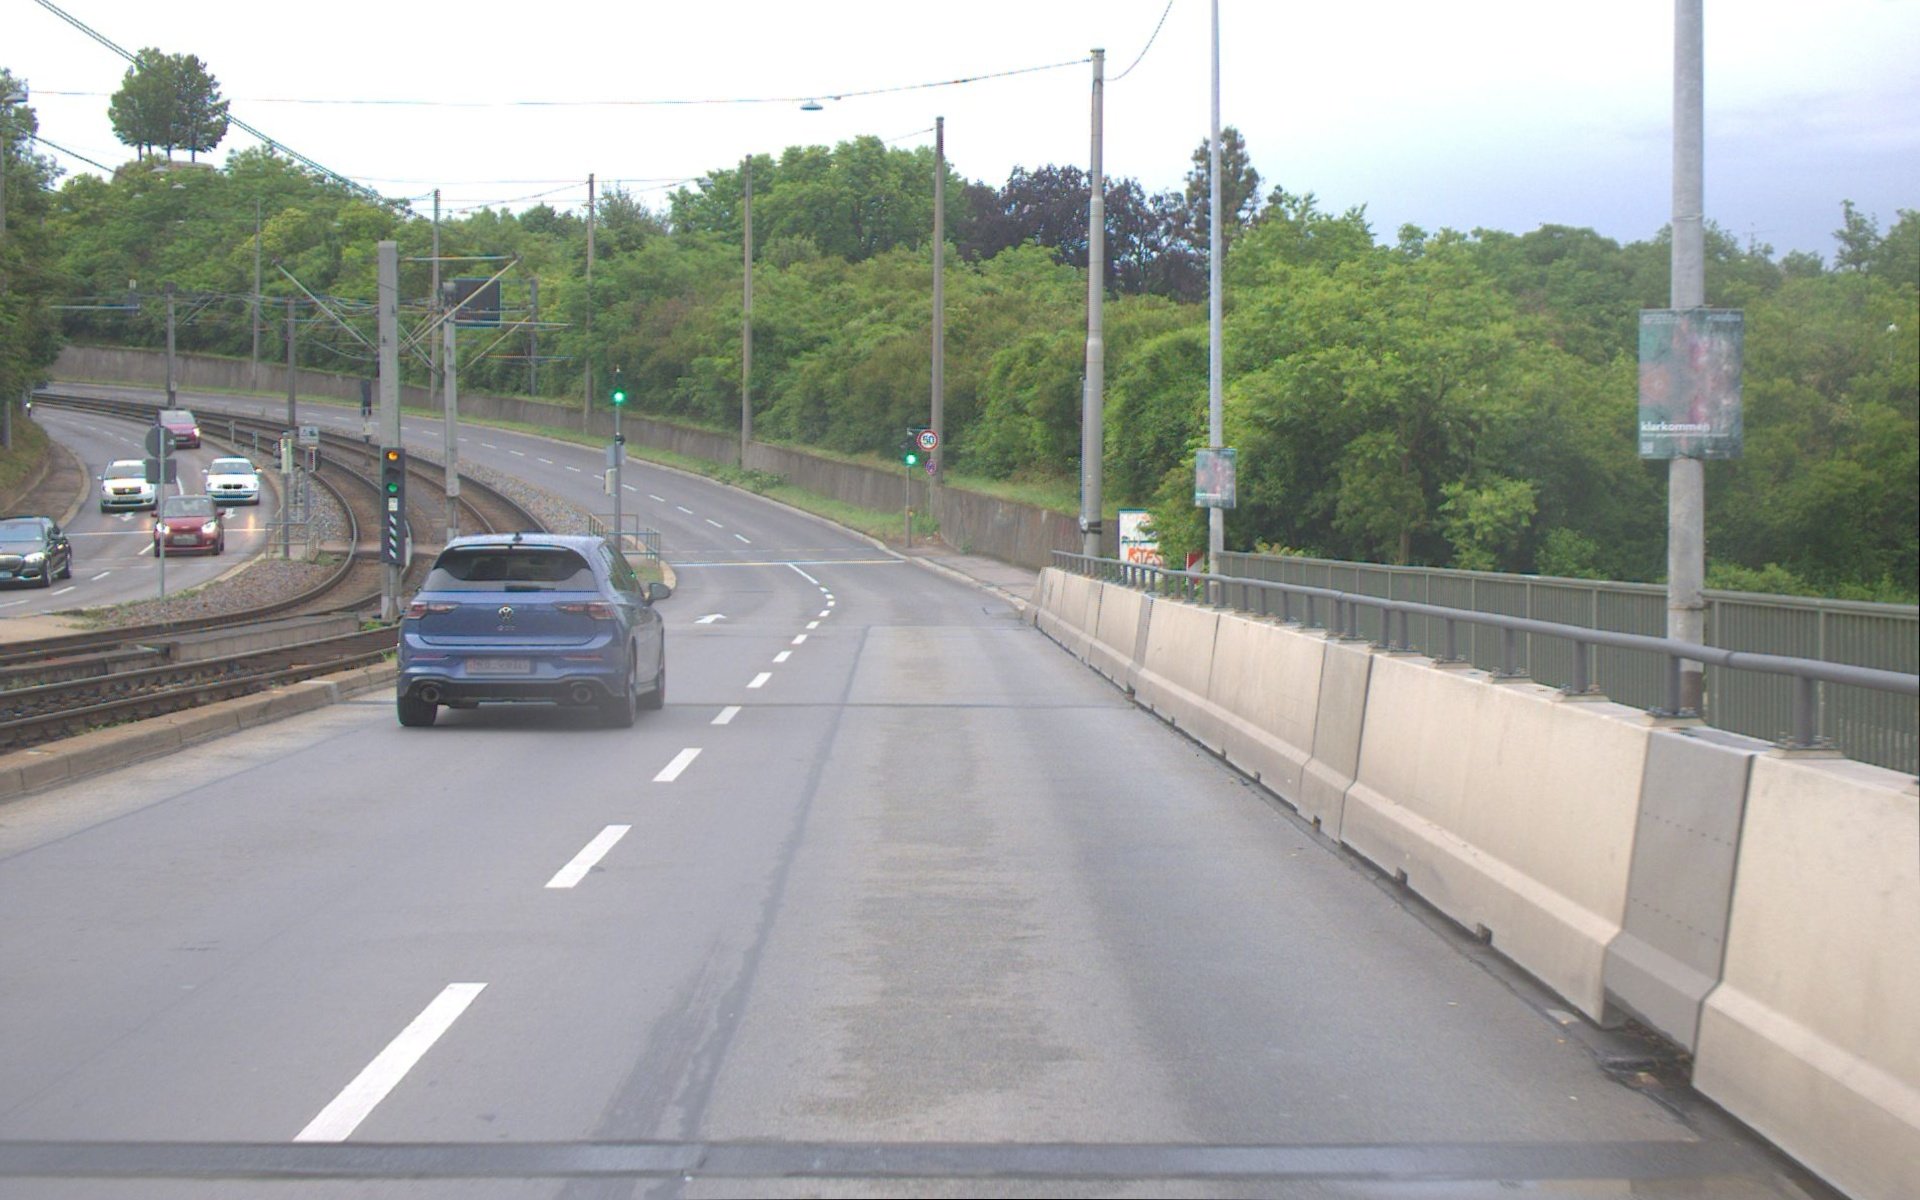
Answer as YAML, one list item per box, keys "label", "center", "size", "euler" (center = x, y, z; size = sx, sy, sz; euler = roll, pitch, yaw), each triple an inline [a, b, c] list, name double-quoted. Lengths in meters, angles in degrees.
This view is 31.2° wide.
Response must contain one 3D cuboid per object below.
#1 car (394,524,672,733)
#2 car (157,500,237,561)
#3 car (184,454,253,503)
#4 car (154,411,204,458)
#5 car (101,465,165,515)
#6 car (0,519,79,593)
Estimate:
- label: "car"
  center: [-3.275, 0.181, 27.021]
  size: [1.763, 1.496, 4.000]
  euler: [1, 1, -1]
- label: "car"
  center: [-19.921, -1.821, 89.822]
  size: [1.600, 1.488, 3.018]
  euler: [-1, 3, -4]
- label: "car"
  center: [-24.231, -3.947, 112.237]
  size: [1.729, 1.432, 4.493]
  euler: [-1, 0, -18]
- label: "car"
  center: [-33.863, -7.189, 149.065]
  size: [1.847, 1.591, 4.736]
  euler: [-2, 8, -15]
- label: "car"
  center: [-26.405, -3.488, 109.866]
  size: [1.820, 1.510, 4.530]
  euler: [0, 1, -11]
- label: "car"
  center: [-21.529, -0.982, 78.617]
  size: [1.968, 1.592, 5.185]
  euler: [-1, 0, -7]
